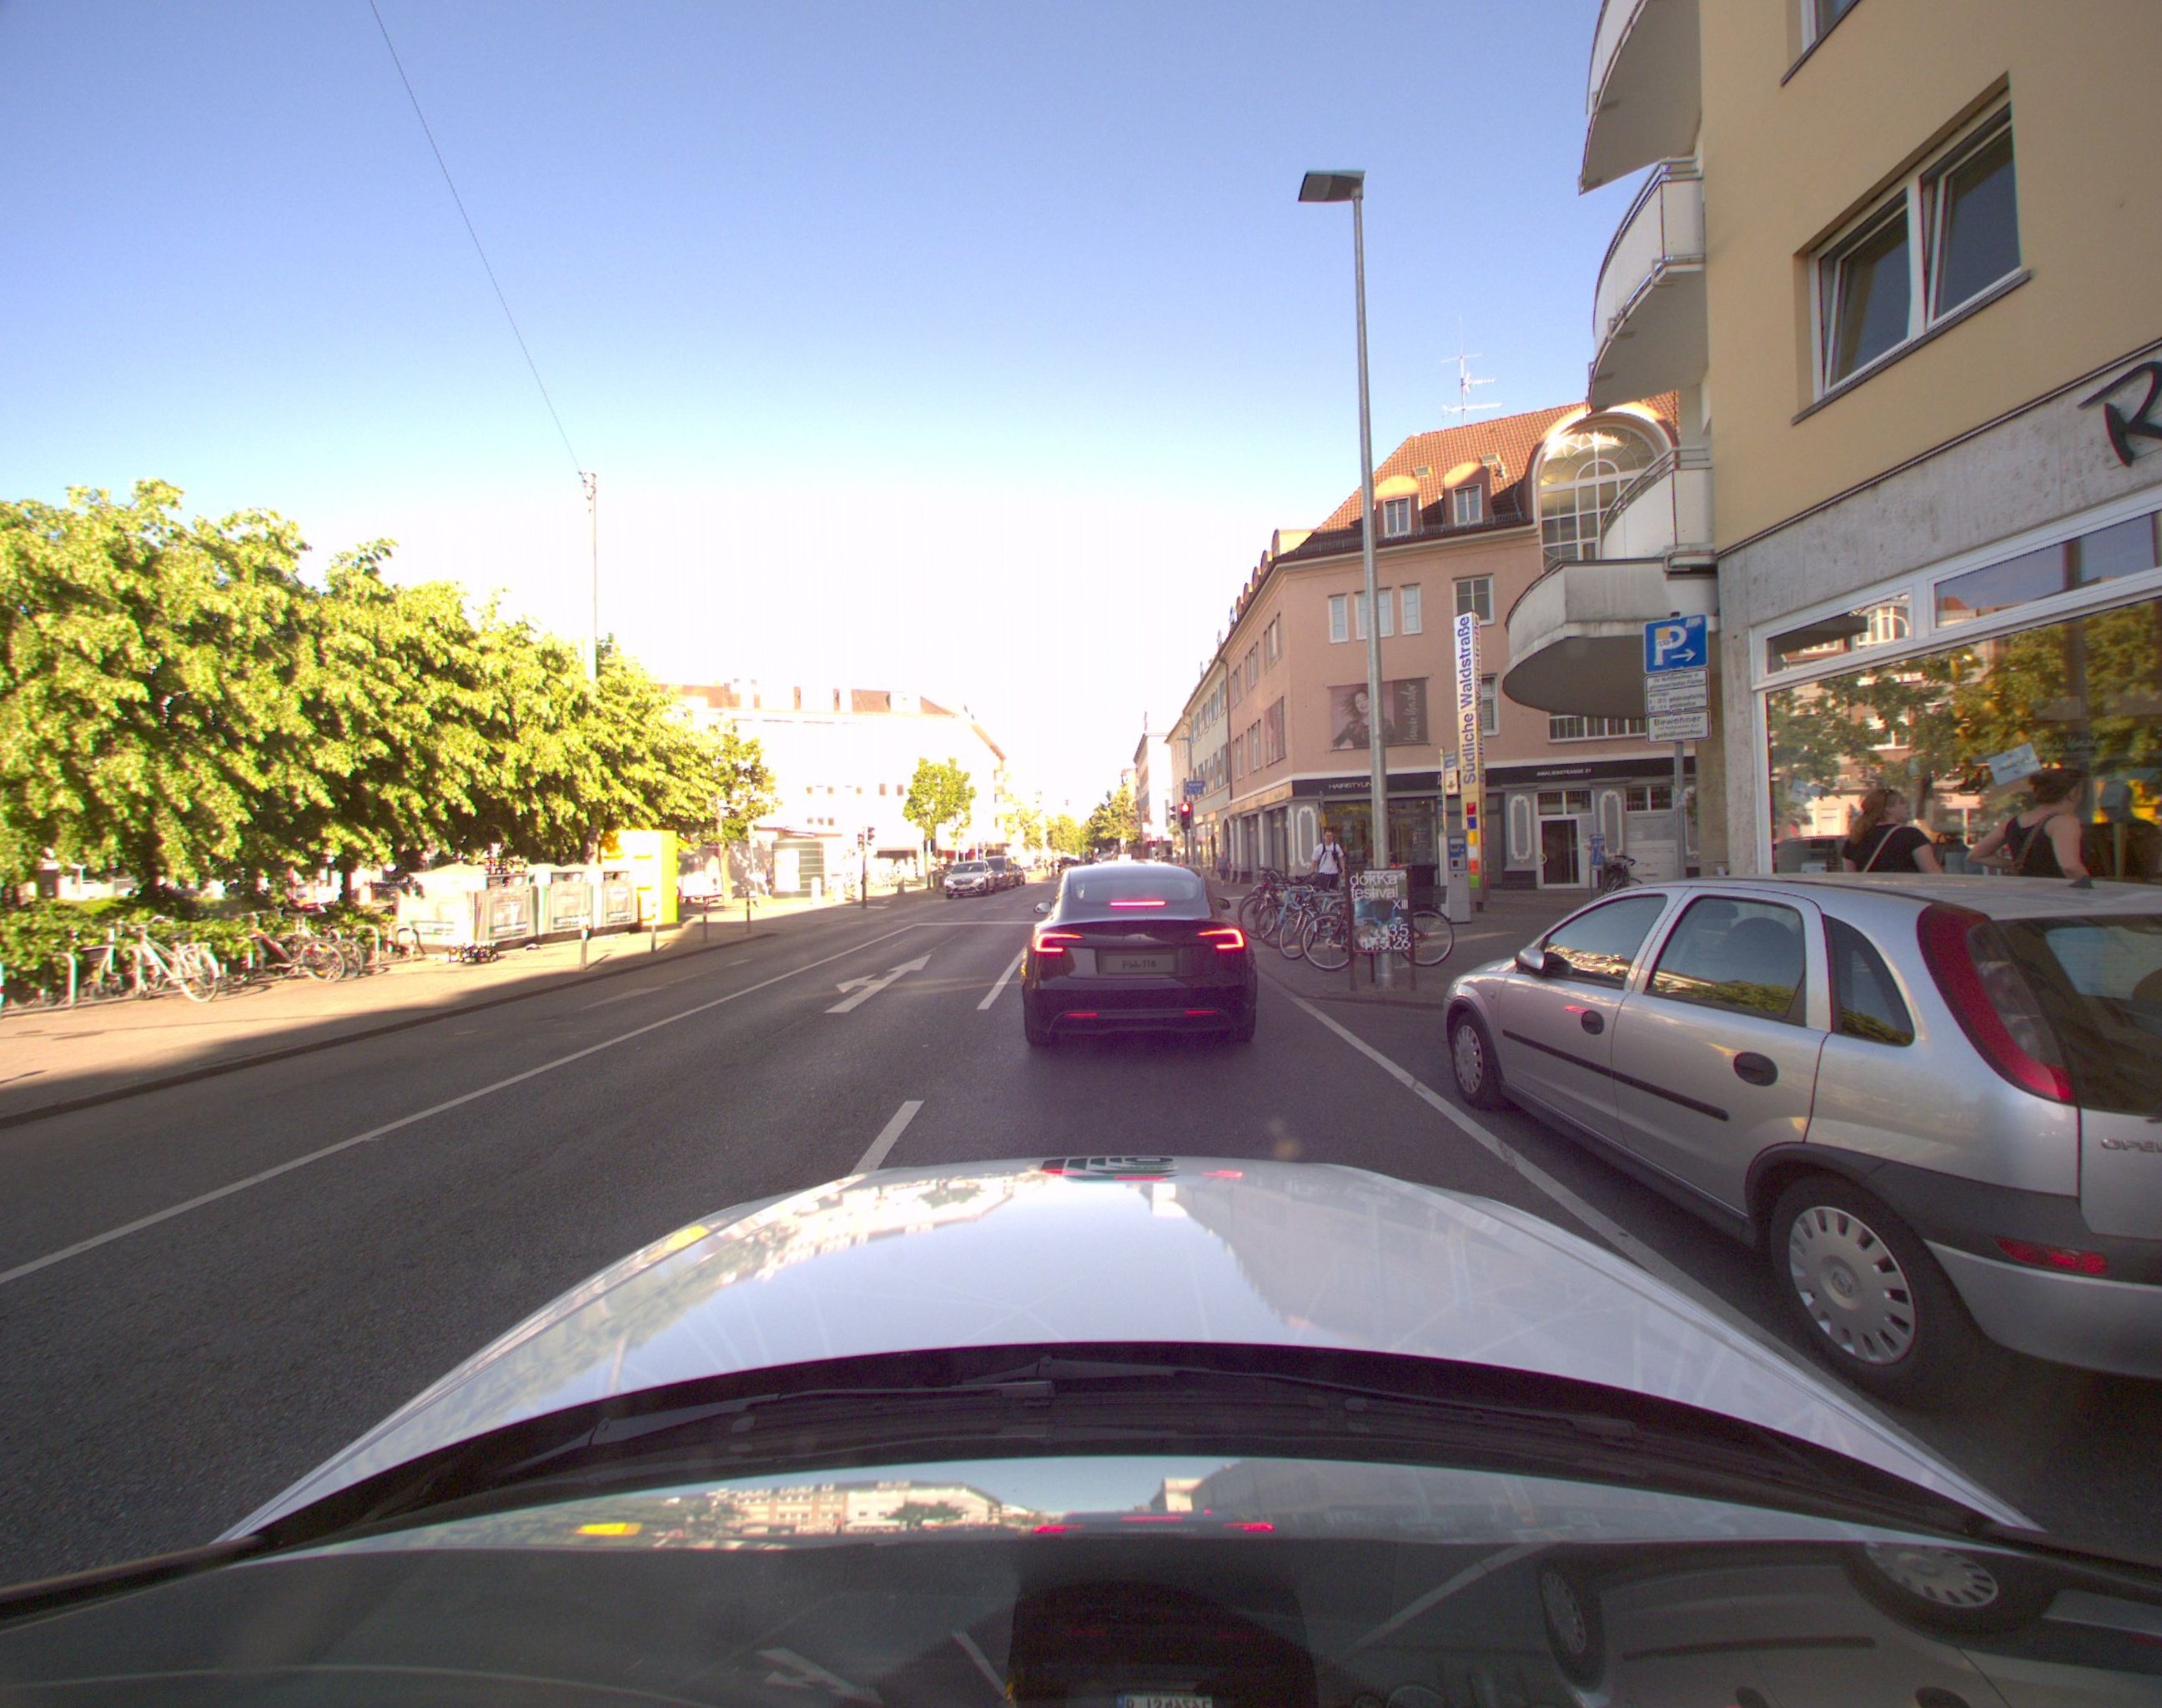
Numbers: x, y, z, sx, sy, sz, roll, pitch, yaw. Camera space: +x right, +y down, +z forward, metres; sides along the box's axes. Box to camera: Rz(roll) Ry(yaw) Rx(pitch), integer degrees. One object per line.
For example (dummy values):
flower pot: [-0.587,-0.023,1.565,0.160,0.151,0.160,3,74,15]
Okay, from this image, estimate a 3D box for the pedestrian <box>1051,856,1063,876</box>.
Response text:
pedestrian: [-1.962,0.973,66.185,0.756,1.631,0.951,0,-1,-16]

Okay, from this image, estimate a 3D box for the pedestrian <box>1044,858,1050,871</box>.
pedestrian: [-3.878,1.219,91.967,0.524,1.422,0.475,0,-1,-28]

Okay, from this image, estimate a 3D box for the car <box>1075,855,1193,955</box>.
car: [0.790,0.748,13.801,1.712,1.425,3.757,-1,0,0]

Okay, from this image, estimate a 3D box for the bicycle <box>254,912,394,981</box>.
bicycle: [-11.325,1.371,12.190,1.888,0.955,0.518,-1,-1,11]

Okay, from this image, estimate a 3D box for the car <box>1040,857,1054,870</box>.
car: [-4.397,1.239,106.116,1.703,1.552,3.692,-1,0,-4]

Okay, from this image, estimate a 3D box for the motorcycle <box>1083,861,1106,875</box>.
motorcycle: [1.146,1.213,70.654,1.932,1.110,0.515,-1,0,-19]

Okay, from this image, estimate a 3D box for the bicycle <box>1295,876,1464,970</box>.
bicycle: [3.626,0.836,9.972,1.862,1.038,0.354,-3,-1,8]

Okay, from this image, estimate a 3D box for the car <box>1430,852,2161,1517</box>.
car: [2.956,0.726,3.507,1.540,1.390,3.479,-1,1,3]

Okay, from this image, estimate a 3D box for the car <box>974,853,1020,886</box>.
car: [-4.376,0.770,42.878,1.780,1.646,4.404,-1,0,2]

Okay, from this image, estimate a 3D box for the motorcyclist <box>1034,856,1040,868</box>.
motorcyclist: [-4.459,0.795,83.393,0.493,1.253,0.351,0,-1,-35]

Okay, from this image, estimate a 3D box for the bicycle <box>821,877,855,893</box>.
bicycle: [-12.843,1.632,43.069,1.640,0.792,0.606,0,-1,-3]

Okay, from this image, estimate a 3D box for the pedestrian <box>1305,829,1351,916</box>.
pedestrian: [5.109,0.383,16.898,0.747,1.765,0.838,0,-1,6]

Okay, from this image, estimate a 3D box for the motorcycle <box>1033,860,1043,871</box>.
motorcycle: [-4.442,1.145,83.395,0.985,1.086,0.352,-1,-1,-35]

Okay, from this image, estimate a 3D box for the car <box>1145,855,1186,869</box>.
car: [9.093,0.832,87.585,3.999,1.354,1.897,-1,0,-19]

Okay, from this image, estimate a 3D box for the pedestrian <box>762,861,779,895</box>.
pedestrian: [-15.482,1.190,40.661,0.472,1.716,0.713,-1,-1,11]

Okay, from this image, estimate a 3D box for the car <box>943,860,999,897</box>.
car: [-4.862,1.045,36.422,1.782,1.460,3.759,-4,-1,2]

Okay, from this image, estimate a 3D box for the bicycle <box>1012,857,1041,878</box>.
bicycle: [-4.198,1.035,62.857,2.104,1.665,0.666,0,-1,-14]

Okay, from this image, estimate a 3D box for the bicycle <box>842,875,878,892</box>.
bicycle: [-12.363,1.633,45.637,1.857,0.934,0.606,0,-1,0]

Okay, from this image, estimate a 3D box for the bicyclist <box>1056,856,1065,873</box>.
bicyclist: [-1.710,0.871,68.079,0.670,1.395,0.460,0,-1,-14]

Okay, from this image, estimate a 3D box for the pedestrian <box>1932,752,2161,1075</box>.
pedestrian: [5.446,0.309,4.557,0.643,1.665,0.659,-1,0,2]

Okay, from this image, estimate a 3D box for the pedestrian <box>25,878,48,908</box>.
pedestrian: [-77.851,2.904,60.705,0.891,2.171,0.882,-1,-1,26]

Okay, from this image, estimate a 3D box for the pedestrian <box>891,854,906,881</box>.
pedestrian: [-13.838,1.012,61.813,1.060,2.014,1.049,0,-1,-18]

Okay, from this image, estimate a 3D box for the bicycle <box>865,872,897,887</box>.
bicycle: [-12.344,1.577,50.323,1.857,0.934,0.606,0,-1,0]

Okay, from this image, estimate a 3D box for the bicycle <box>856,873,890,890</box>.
bicycle: [-12.219,1.615,47.844,1.857,0.934,0.606,0,-1,0]

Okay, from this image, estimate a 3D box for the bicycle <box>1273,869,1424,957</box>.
bicycle: [3.648,0.805,11.195,1.864,1.087,0.415,-3,-1,5]

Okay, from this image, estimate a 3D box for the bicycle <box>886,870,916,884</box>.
bicycle: [-12.191,1.553,55.128,1.857,0.934,0.606,-1,0,0]

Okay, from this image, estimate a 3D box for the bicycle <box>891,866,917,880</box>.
bicycle: [-17.079,1.817,78.494,2.373,1.296,0.509,0,-1,-25]

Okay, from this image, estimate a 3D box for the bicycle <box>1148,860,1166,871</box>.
bicycle: [6.893,1.066,74.133,1.562,1.012,0.480,0,-1,-22]

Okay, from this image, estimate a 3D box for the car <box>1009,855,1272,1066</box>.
car: [0.478,0.761,7.705,1.815,1.442,4.001,-1,-1,2]

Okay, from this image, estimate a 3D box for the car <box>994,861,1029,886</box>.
car: [-4.249,1.168,50.196,1.709,1.446,3.846,0,-1,2]

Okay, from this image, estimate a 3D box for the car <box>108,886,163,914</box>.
car: [-52.131,2.488,44.887,3.526,1.386,1.703,-1,0,36]

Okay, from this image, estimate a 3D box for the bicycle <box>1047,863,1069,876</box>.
bicycle: [-1.890,1.302,68.025,1.787,1.007,0.469,0,-1,-15]

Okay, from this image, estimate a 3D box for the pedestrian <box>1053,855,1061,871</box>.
pedestrian: [-2.687,1.063,91.784,0.676,1.789,0.705,0,-1,-34]

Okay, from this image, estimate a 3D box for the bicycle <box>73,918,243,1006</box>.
bicycle: [-11.627,1.339,10.266,1.919,1.015,0.518,-1,-1,12]

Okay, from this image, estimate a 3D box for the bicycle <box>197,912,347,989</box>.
bicycle: [-11.507,1.354,11.593,1.913,1.003,0.518,-1,-1,11]

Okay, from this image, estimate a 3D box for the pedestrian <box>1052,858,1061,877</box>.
pedestrian: [-1.958,1.064,64.954,0.623,1.538,0.511,0,-1,-17]

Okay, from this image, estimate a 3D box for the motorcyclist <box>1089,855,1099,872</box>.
motorcyclist: [1.089,0.827,70.637,0.721,1.528,0.513,-1,0,-19]

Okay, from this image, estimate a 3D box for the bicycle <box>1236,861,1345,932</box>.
bicycle: [3.773,0.759,14.777,1.818,1.169,0.507,-3,-1,7]

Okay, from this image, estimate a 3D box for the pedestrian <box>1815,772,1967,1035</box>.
pedestrian: [5.942,0.338,5.982,0.571,1.784,0.734,-1,-1,-43]

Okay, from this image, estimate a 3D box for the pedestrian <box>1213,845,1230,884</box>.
pedestrian: [6.302,0.463,36.426,0.702,1.742,0.542,-1,0,11]

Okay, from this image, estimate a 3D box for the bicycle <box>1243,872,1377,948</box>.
bicycle: [3.488,0.851,12.487,1.864,1.038,0.534,-3,-1,5]

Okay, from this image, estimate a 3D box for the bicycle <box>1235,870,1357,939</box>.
bicycle: [3.577,0.839,13.660,1.863,1.038,0.548,-3,-1,7]

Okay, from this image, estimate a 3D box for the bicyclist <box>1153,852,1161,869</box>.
bicyclist: [6.909,0.592,74.147,0.525,1.503,0.473,0,-1,-22]

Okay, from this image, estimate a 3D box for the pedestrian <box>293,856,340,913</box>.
pedestrian: [-27.593,1.104,29.406,0.890,2.013,0.893,-1,0,15]

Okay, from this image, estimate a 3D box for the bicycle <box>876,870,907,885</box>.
bicycle: [-12.270,1.534,52.679,1.857,0.934,0.606,-1,0,0]
